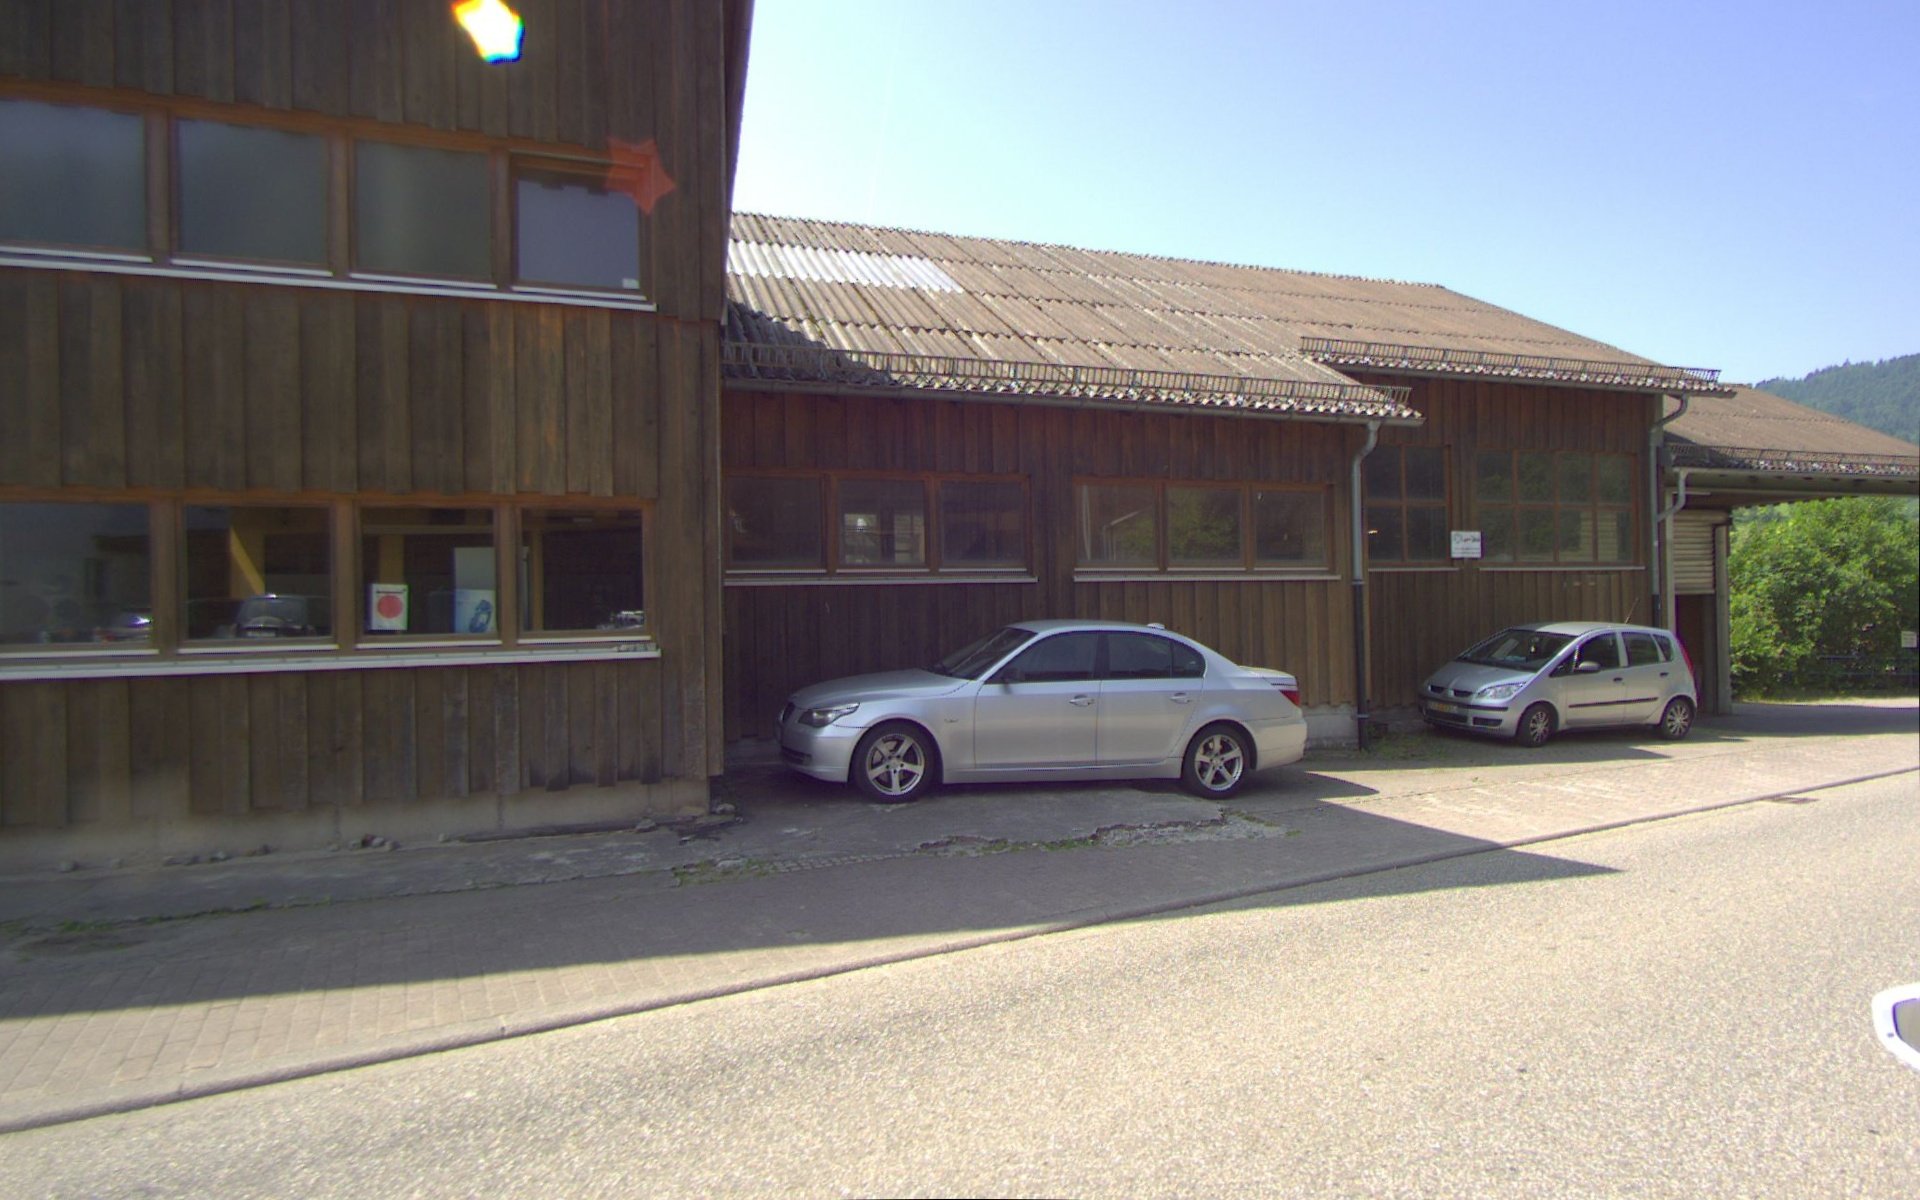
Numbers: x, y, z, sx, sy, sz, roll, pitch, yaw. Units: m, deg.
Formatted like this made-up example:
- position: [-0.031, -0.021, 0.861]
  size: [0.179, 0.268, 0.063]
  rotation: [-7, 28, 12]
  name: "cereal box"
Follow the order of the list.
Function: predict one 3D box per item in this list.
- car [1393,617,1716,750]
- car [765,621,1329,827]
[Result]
- position: [8.188, 1.072, 13.882]
  size: [3.959, 1.591, 1.579]
  rotation: [1, 2, -18]
  name: "car"
- position: [0.719, 0.954, 8.972]
  size: [4.724, 1.473, 1.729]
  rotation: [0, -1, -16]
  name: "car"
